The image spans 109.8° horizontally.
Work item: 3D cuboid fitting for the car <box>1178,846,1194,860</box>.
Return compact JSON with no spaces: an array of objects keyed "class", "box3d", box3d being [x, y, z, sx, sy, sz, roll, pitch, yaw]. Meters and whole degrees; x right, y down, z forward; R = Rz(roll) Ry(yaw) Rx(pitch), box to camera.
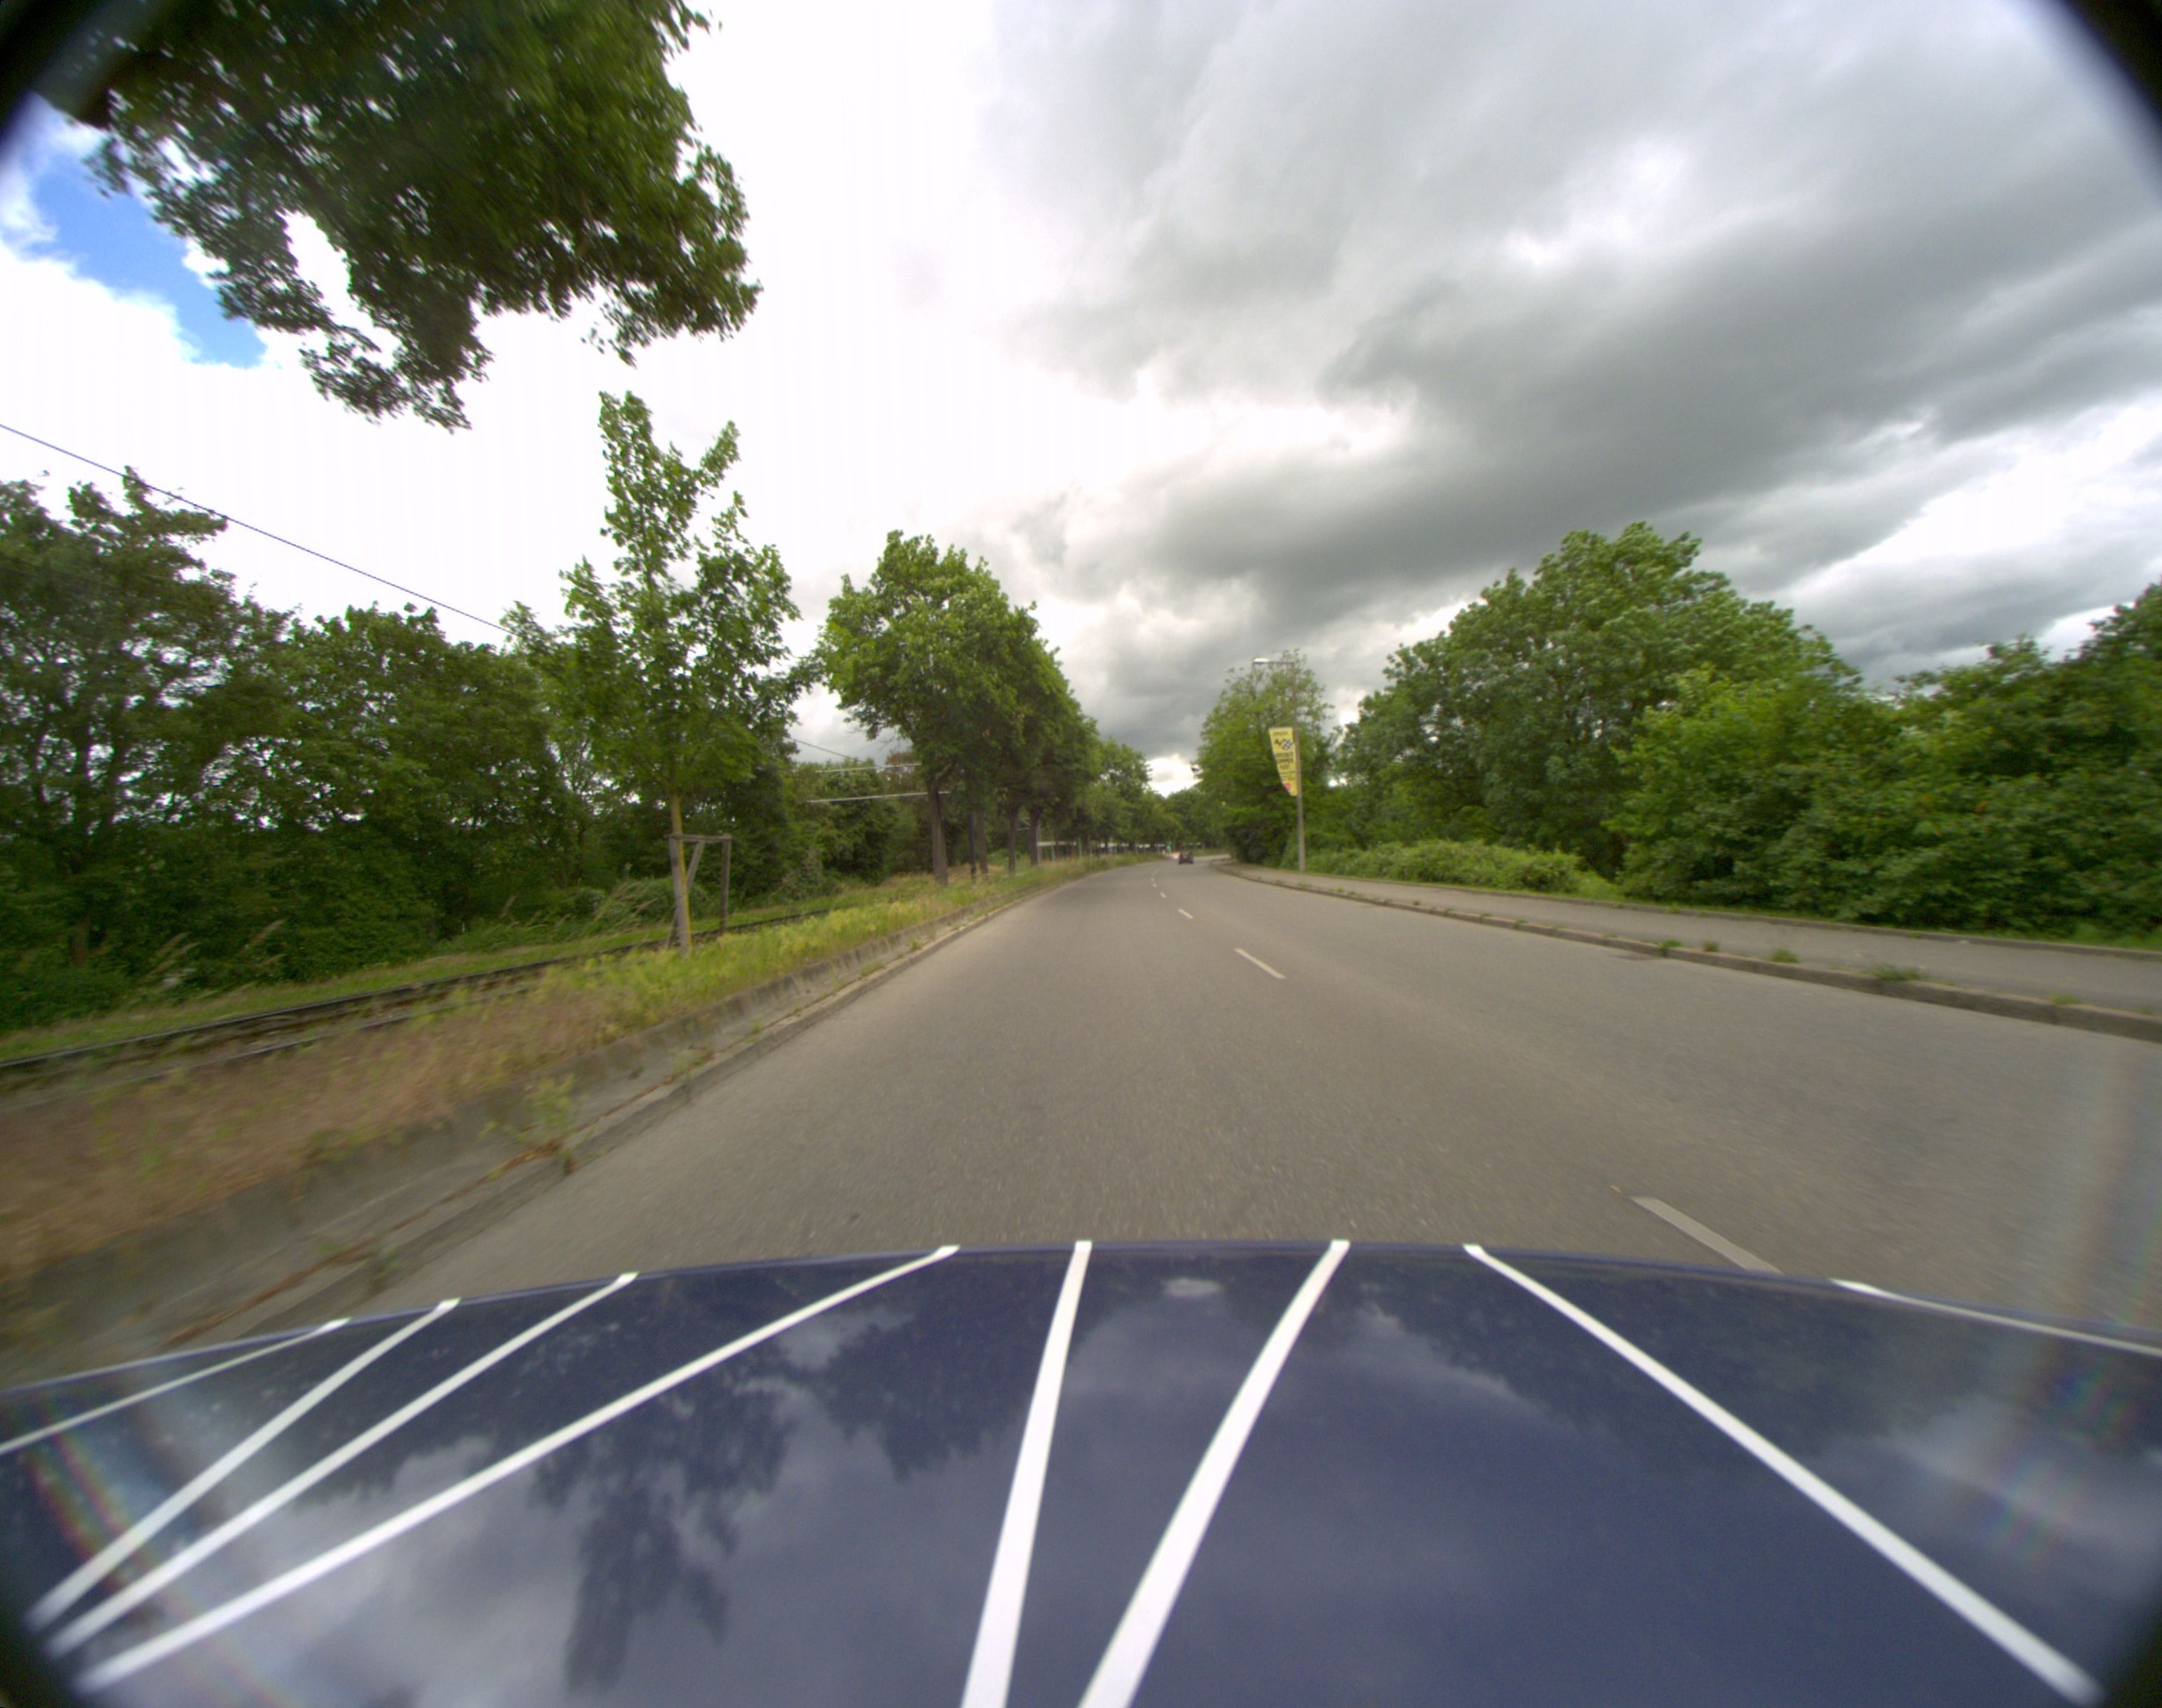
[{"class":"car","box3d":[12.514,-0.112,90.510,1.599,1.497,3.029,-2,0,4]}]
